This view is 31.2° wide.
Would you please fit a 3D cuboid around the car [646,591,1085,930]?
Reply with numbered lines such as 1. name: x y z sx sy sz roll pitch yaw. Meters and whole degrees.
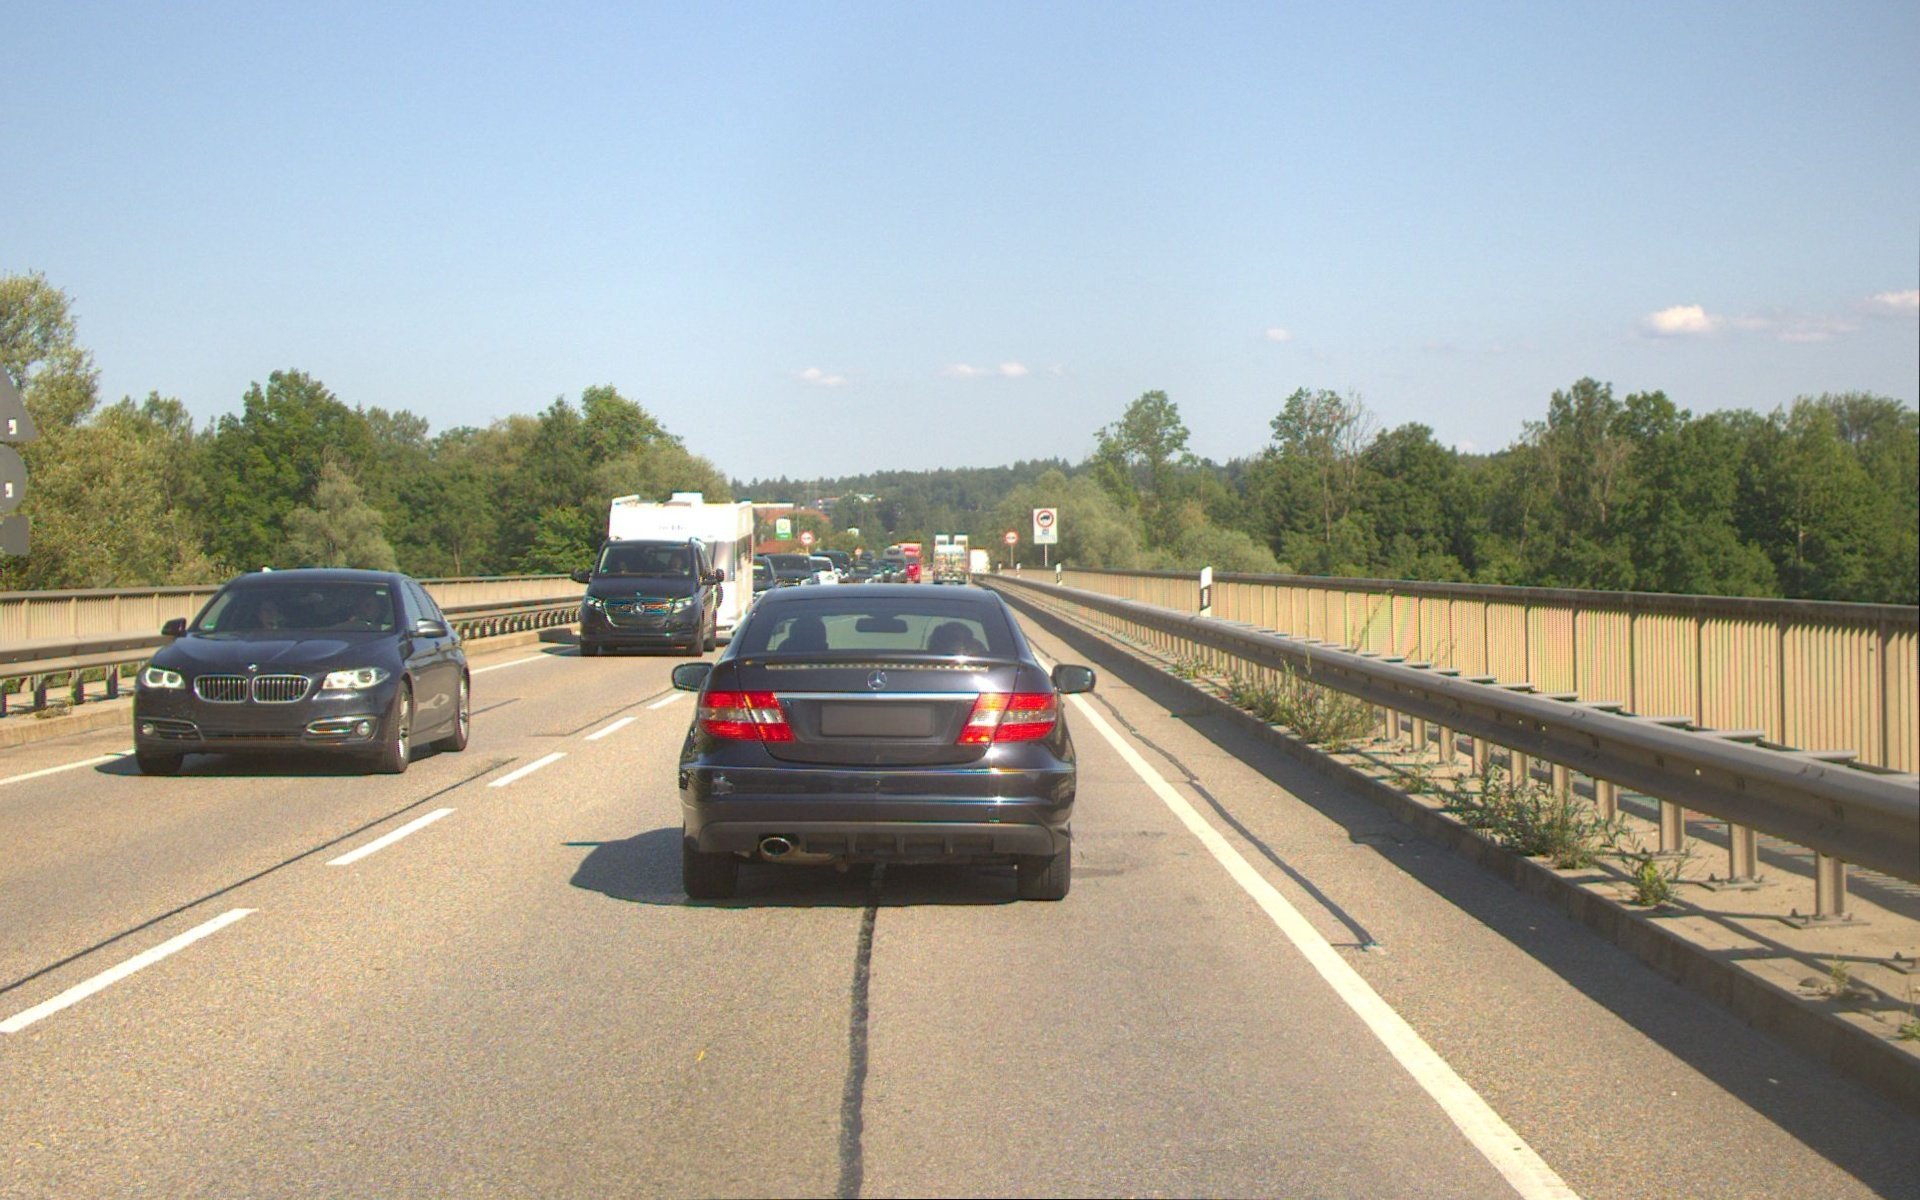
1. car: -0.325 0.652 16.056 1.793 1.371 4.000 0 0 2

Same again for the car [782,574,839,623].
1. car: -5.422 -0.069 124.266 1.983 1.645 4.598 1 1 -3

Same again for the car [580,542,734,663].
1. car: -4.852 0.011 55.650 1.983 1.848 5.008 -1 0 1

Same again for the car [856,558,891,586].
1. car: -5.450 -1.765 216.199 1.866 1.439 4.457 7 1 -3

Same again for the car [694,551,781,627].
1. car: -4.979 -0.273 77.363 1.802 1.655 4.434 0 1 -2

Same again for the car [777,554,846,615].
1. car: -4.442 -0.491 102.325 1.949 1.688 4.477 2 1 -3

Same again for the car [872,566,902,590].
1. car: -4.937 -1.498 231.361 1.806 1.572 4.201 0 1 -4

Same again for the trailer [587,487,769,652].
1. trailer: -4.990 -0.553 62.103 2.555 2.728 8.063 1 1 0

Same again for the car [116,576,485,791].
1. car: -4.765 0.547 25.492 1.786 1.415 4.651 -1 0 1

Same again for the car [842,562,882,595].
1. car: -4.568 -1.016 160.348 1.765 1.442 4.457 2 1 -2
